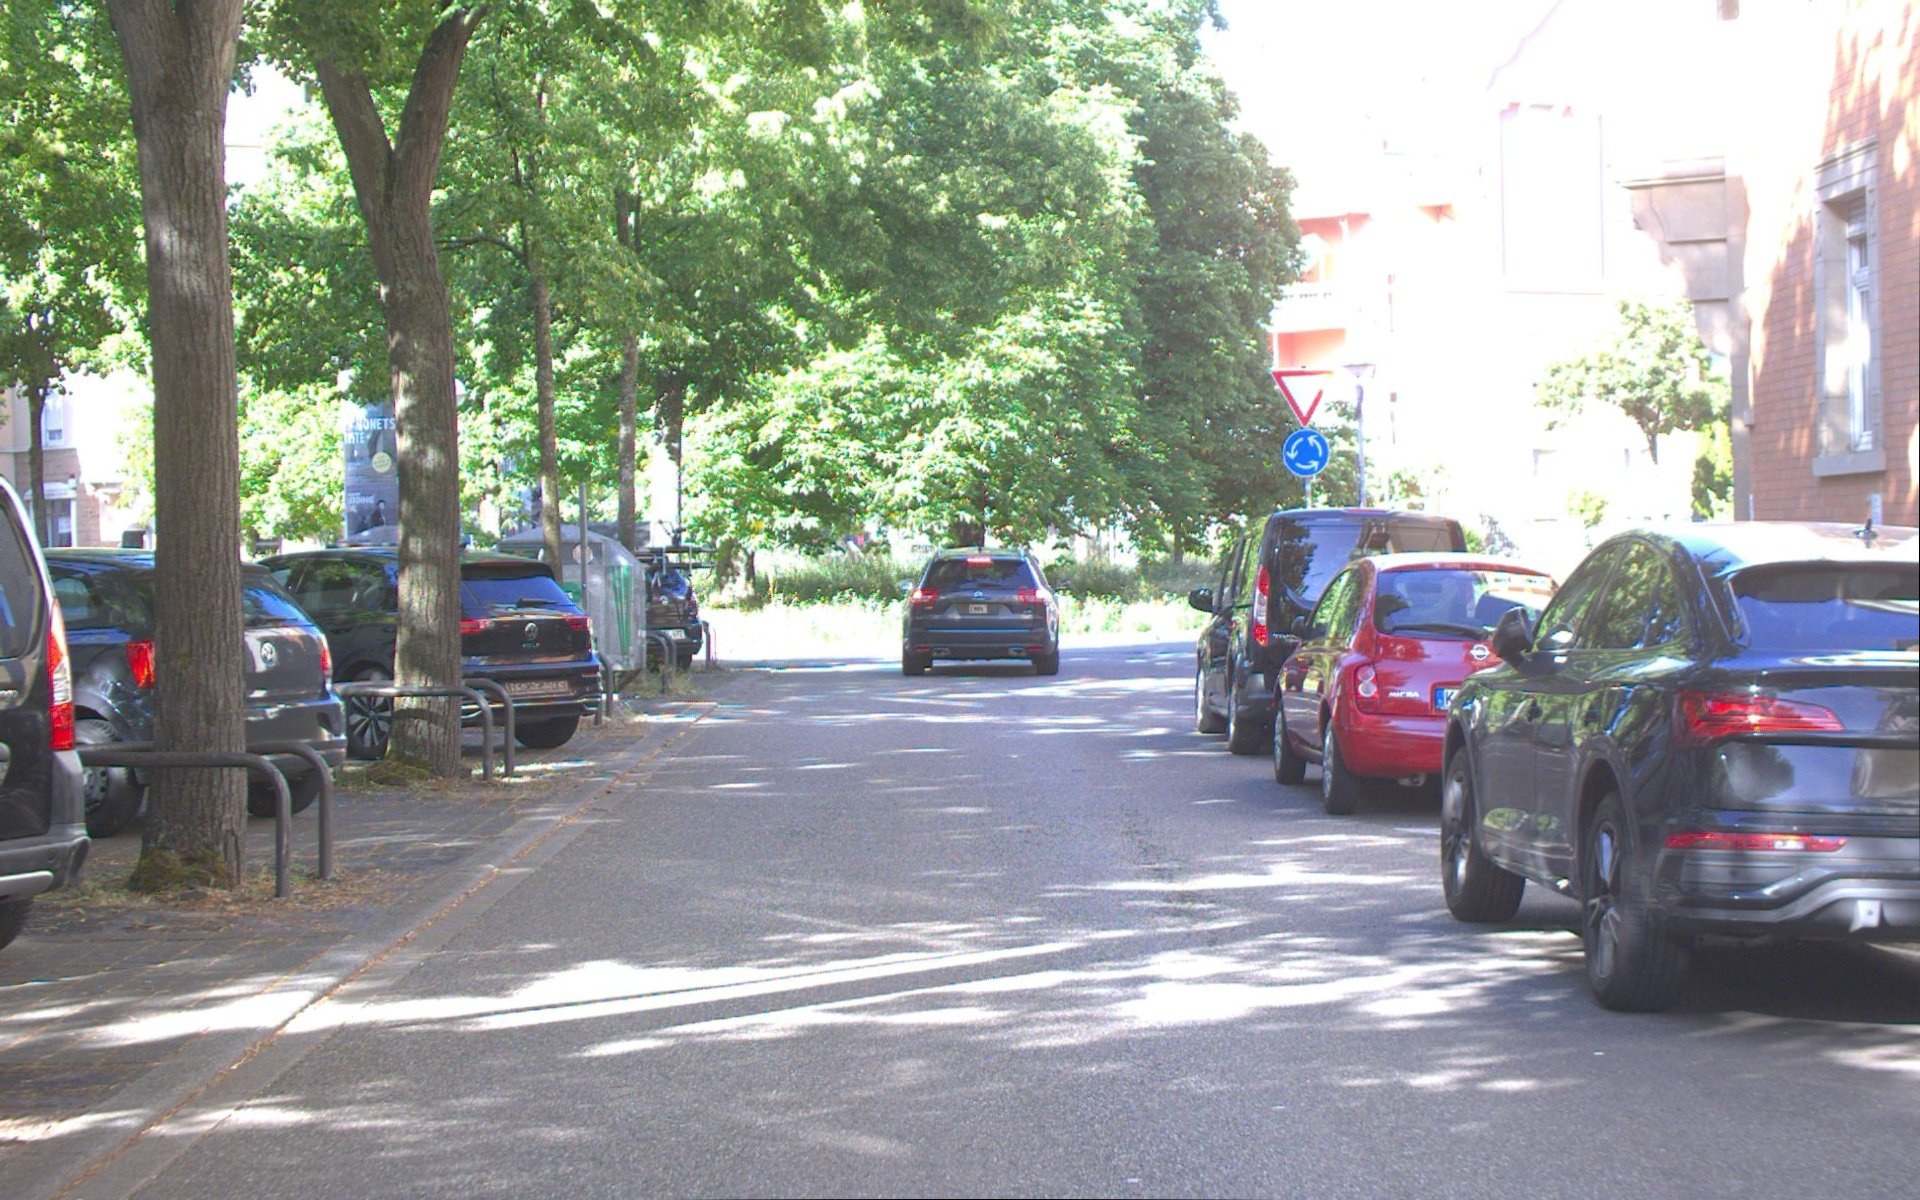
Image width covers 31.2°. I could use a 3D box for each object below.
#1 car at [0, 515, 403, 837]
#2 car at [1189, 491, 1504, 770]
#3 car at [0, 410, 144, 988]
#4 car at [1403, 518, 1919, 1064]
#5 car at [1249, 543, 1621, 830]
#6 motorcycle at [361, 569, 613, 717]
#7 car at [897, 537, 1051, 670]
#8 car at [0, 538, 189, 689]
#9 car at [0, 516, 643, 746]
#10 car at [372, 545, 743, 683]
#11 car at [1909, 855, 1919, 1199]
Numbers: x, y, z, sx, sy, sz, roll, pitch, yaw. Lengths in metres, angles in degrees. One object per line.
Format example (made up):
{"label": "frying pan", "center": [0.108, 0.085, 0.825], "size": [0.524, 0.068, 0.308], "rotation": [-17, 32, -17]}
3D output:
{"label": "car", "center": [-5.010, 0.348, 18.221], "size": [3.729, 1.576, 1.635], "rotation": [1, 0, 19]}
{"label": "car", "center": [2.866, 0.189, 26.370], "size": [1.801, 1.864, 4.273], "rotation": [3, 1, -1]}
{"label": "car", "center": [-4.882, 0.302, 12.027], "size": [3.846, 1.882, 1.840], "rotation": [1, 2, 35]}
{"label": "car", "center": [2.980, 0.567, 12.704], "size": [1.864, 1.638, 4.492], "rotation": [2, 1, -3]}
{"label": "car", "center": [2.847, 0.466, 21.400], "size": [1.645, 1.532, 4.000], "rotation": [3, 1, -1]}
{"label": "motorcycle", "center": [-3.810, 0.344, 27.745], "size": [1.939, 1.167, 0.518], "rotation": [0, 1, 4]}
{"label": "car", "center": [0.202, 0.012, 40.788], "size": [1.714, 1.478, 4.144], "rotation": [-1, 1, 1]}
{"label": "car", "center": [-9.955, 0.143, 34.882], "size": [3.789, 1.461, 1.644], "rotation": [-1, 1, 12]}
{"label": "car", "center": [-4.485, 0.208, 24.251], "size": [4.091, 1.461, 1.866], "rotation": [1, 0, 11]}
{"label": "car", "center": [-4.561, 0.145, 38.632], "size": [4.138, 1.476, 1.772], "rotation": [1, 0, 40]}
{"label": "car", "center": [2.895, 0.734, 5.807], "size": [1.590, 1.410, 3.632], "rotation": [2, 1, 1]}
